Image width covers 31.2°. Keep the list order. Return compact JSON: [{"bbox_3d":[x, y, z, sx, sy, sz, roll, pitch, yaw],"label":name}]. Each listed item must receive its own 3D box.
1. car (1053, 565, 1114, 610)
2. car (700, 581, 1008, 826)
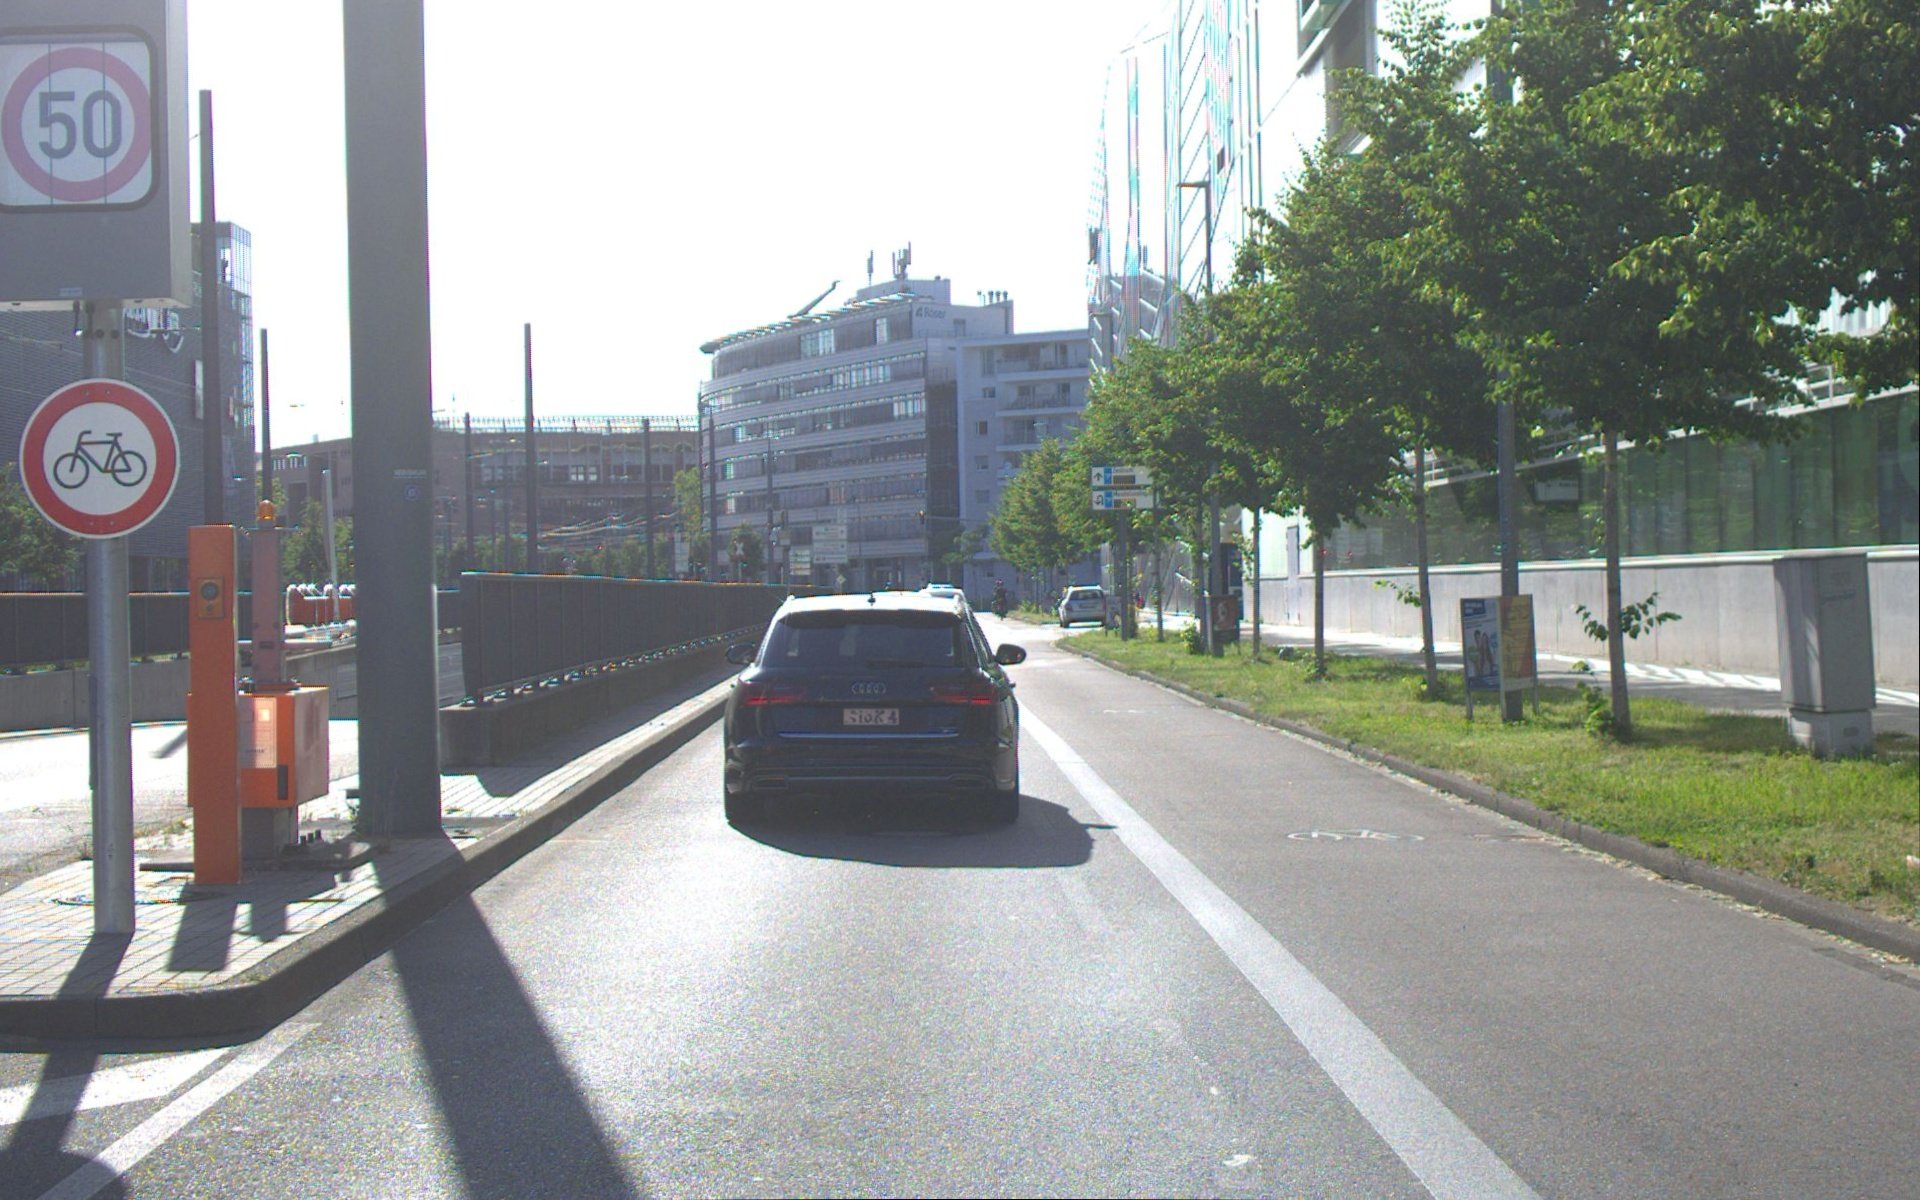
[{"bbox_3d":[4.474,-0.477,125.564,1.852,1.476,4.854,-3,1,-1],"label":"car"},{"bbox_3d":[-0.664,0.613,22.869,1.812,1.422,4.690,-1,0,-1],"label":"car"}]
